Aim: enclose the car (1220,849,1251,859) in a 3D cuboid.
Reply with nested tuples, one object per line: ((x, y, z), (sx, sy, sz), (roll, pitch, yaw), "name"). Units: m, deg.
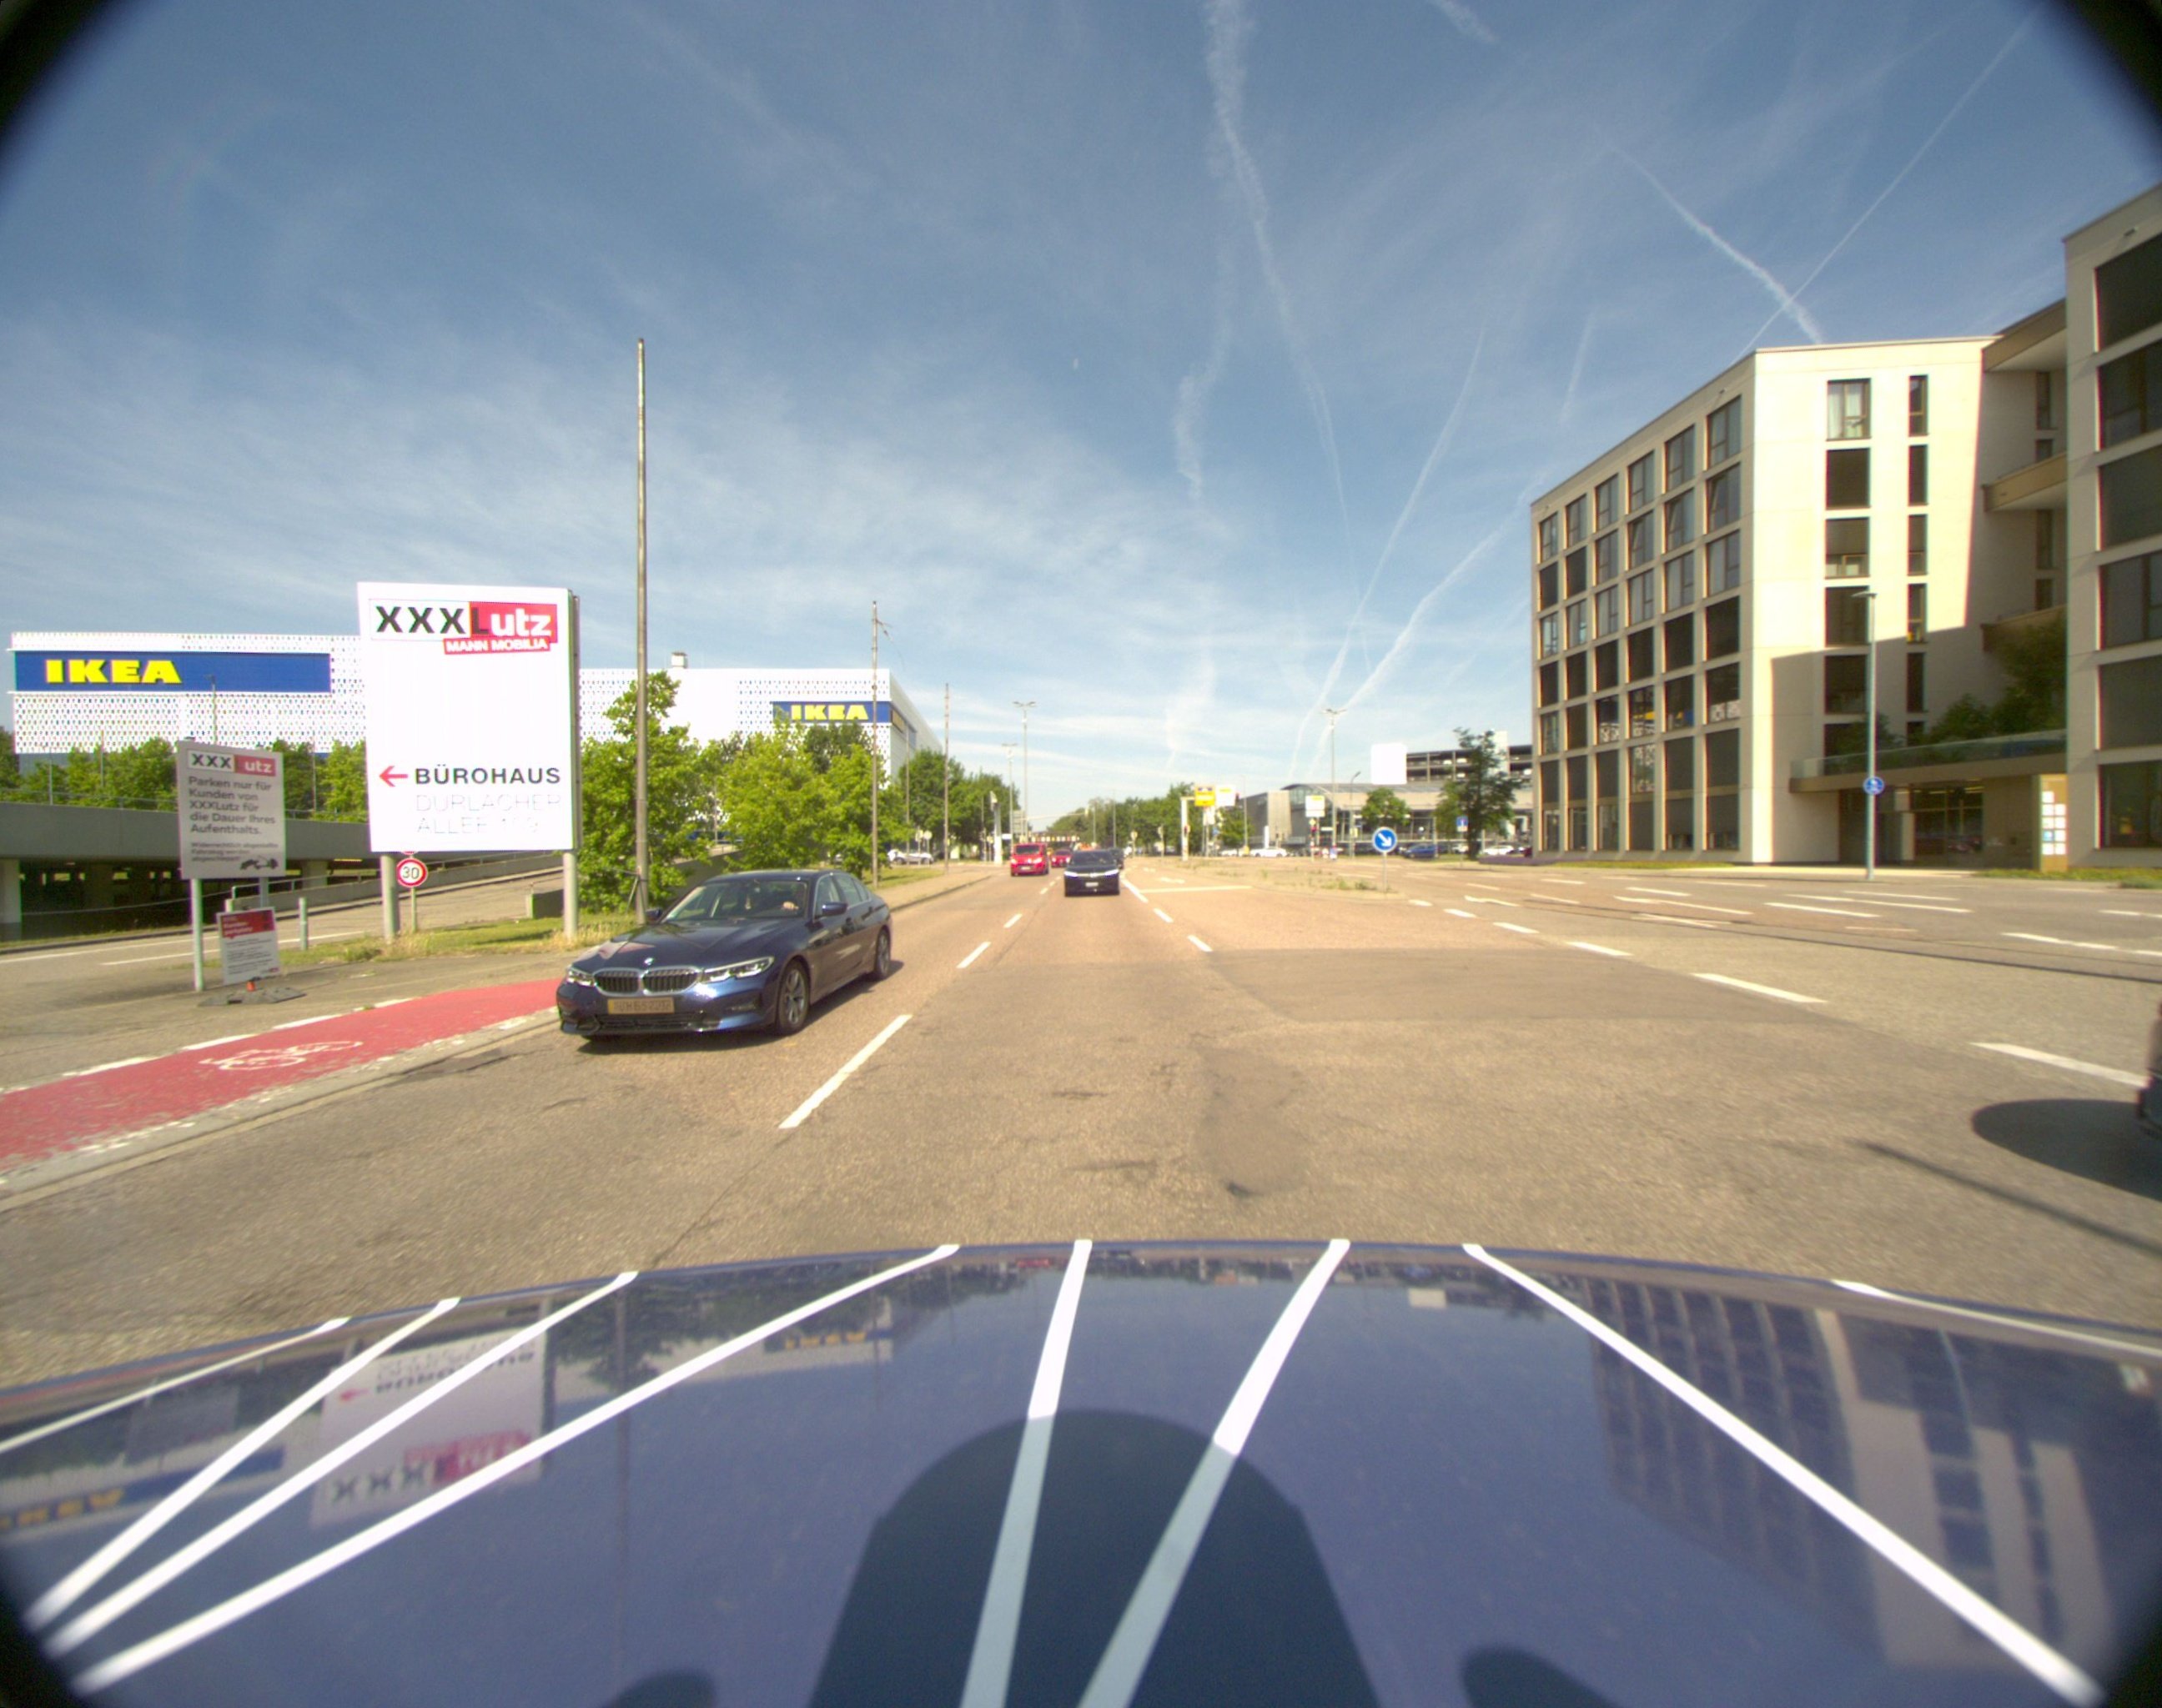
((22.340, -0.059, 110.217), (3.999, 1.311, 1.867), (2, 0, -5), "car")

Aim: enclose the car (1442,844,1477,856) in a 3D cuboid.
((47.217, -0.468, 94.898), (1.793, 1.433, 4.558), (0, -1, -5), "car")

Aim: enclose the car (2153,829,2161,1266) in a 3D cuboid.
((5.693, 0.680, 1.255), (1.924, 1.597, 4.263), (-1, 0, -25), "car")

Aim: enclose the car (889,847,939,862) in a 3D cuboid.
((-17.023, 0.023, 77.564), (4.729, 1.417, 1.958), (0, 2, -1), "car")

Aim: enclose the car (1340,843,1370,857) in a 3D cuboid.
((33.803, -0.426, 93.711), (1.793, 1.534, 4.375), (0, -2, -5), "car")

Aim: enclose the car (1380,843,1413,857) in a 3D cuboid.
((39.165, -0.486, 94.380), (1.783, 1.507, 4.673), (0, -2, -5), "car")

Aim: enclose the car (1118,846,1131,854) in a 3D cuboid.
((7.841, -0.701, 138.160), (1.787, 1.452, 4.332), (1, 0, -4), "car")

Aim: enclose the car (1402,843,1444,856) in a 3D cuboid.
((37.143, -0.483, 82.632), (3.800, 1.282, 1.660), (-1, 1, 4), "car")

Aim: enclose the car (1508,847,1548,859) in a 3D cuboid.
((55.513, -0.138, 94.377), (4.018, 1.434, 1.800), (0, 1, 22), "car")

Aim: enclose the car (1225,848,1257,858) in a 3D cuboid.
((22.615, -0.153, 107.603), (4.084, 1.362, 1.877), (2, 0, -5), "car")

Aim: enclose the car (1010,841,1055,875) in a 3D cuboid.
((-2.898, 0.230, 46.186), (2.013, 1.896, 4.811), (-1, 0, 4), "car")

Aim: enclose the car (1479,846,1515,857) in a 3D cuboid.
((55.296, -0.283, 101.092), (4.017, 1.434, 1.801), (0, 1, 25), "car")

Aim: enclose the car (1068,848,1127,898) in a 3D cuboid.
((0.537, 0.600, 26.199), (1.847, 1.531, 4.000), (-1, 0, 0), "car")

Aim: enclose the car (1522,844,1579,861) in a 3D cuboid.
((41.453, -0.106, 67.162), (4.019, 1.407, 1.812), (-1, 0, 43), "car")

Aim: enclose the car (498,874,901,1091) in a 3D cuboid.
((-3.334, 1.002, 7.836), (1.800, 1.420, 4.538), (-1, 0, 0), "car")

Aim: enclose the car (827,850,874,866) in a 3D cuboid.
((-22.684, 0.377, 74.771), (4.039, 1.500, 1.908), (0, 2, -2), "car")

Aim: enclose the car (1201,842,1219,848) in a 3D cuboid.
((32.980, -2.316, 194.039), (4.198, 1.490, 1.689), (2, 0, -4), "car")

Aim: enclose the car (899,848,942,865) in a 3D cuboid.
((-15.727, 0.248, 74.567), (3.894, 1.549, 1.808), (-1, 1, 0), "car")

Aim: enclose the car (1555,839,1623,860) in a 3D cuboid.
((45.131, -0.390, 67.538), (4.800, 1.810, 1.902), (-1, 0, 42), "car")

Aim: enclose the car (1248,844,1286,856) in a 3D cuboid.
((23.744, -0.518, 97.169), (4.385, 1.424, 1.899), (0, 0, -3), "car")

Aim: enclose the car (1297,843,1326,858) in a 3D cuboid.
((28.298, -0.365, 93.448), (1.819, 1.603, 4.595), (0, -2, -4), "car")

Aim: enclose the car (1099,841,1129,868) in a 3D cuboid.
((2.437, 0.029, 54.883), (1.966, 1.896, 4.662), (-1, 0, 4), "car")

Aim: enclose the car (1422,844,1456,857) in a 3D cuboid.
((44.513, -0.461, 94.591), (1.793, 1.433, 4.401), (0, -2, -5), "car")

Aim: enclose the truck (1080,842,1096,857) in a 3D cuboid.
((1.739, -1.232, 191.267), (2.756, 3.659, 7.571), (-1, 1, -10), "truck")

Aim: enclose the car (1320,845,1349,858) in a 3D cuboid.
((31.020, -0.326, 93.113), (1.793, 1.433, 4.200), (0, -2, -5), "car")

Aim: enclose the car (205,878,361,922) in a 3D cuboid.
((-32.537, 1.838, 31.101), (4.124, 1.514, 1.798), (-2, 1, -8), "car")

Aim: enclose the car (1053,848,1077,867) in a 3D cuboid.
((-1.258, 0.229, 61.395), (1.692, 1.414, 3.916), (-2, 0, 2), "car")

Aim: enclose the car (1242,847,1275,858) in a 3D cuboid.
((23.298, -0.195, 99.637), (3.846, 1.394, 1.763), (-1, 1, -6), "car")

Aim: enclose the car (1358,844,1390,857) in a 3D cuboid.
((36.309, -0.406, 94.327), (1.793, 1.496, 4.776), (0, -2, -5), "car")
